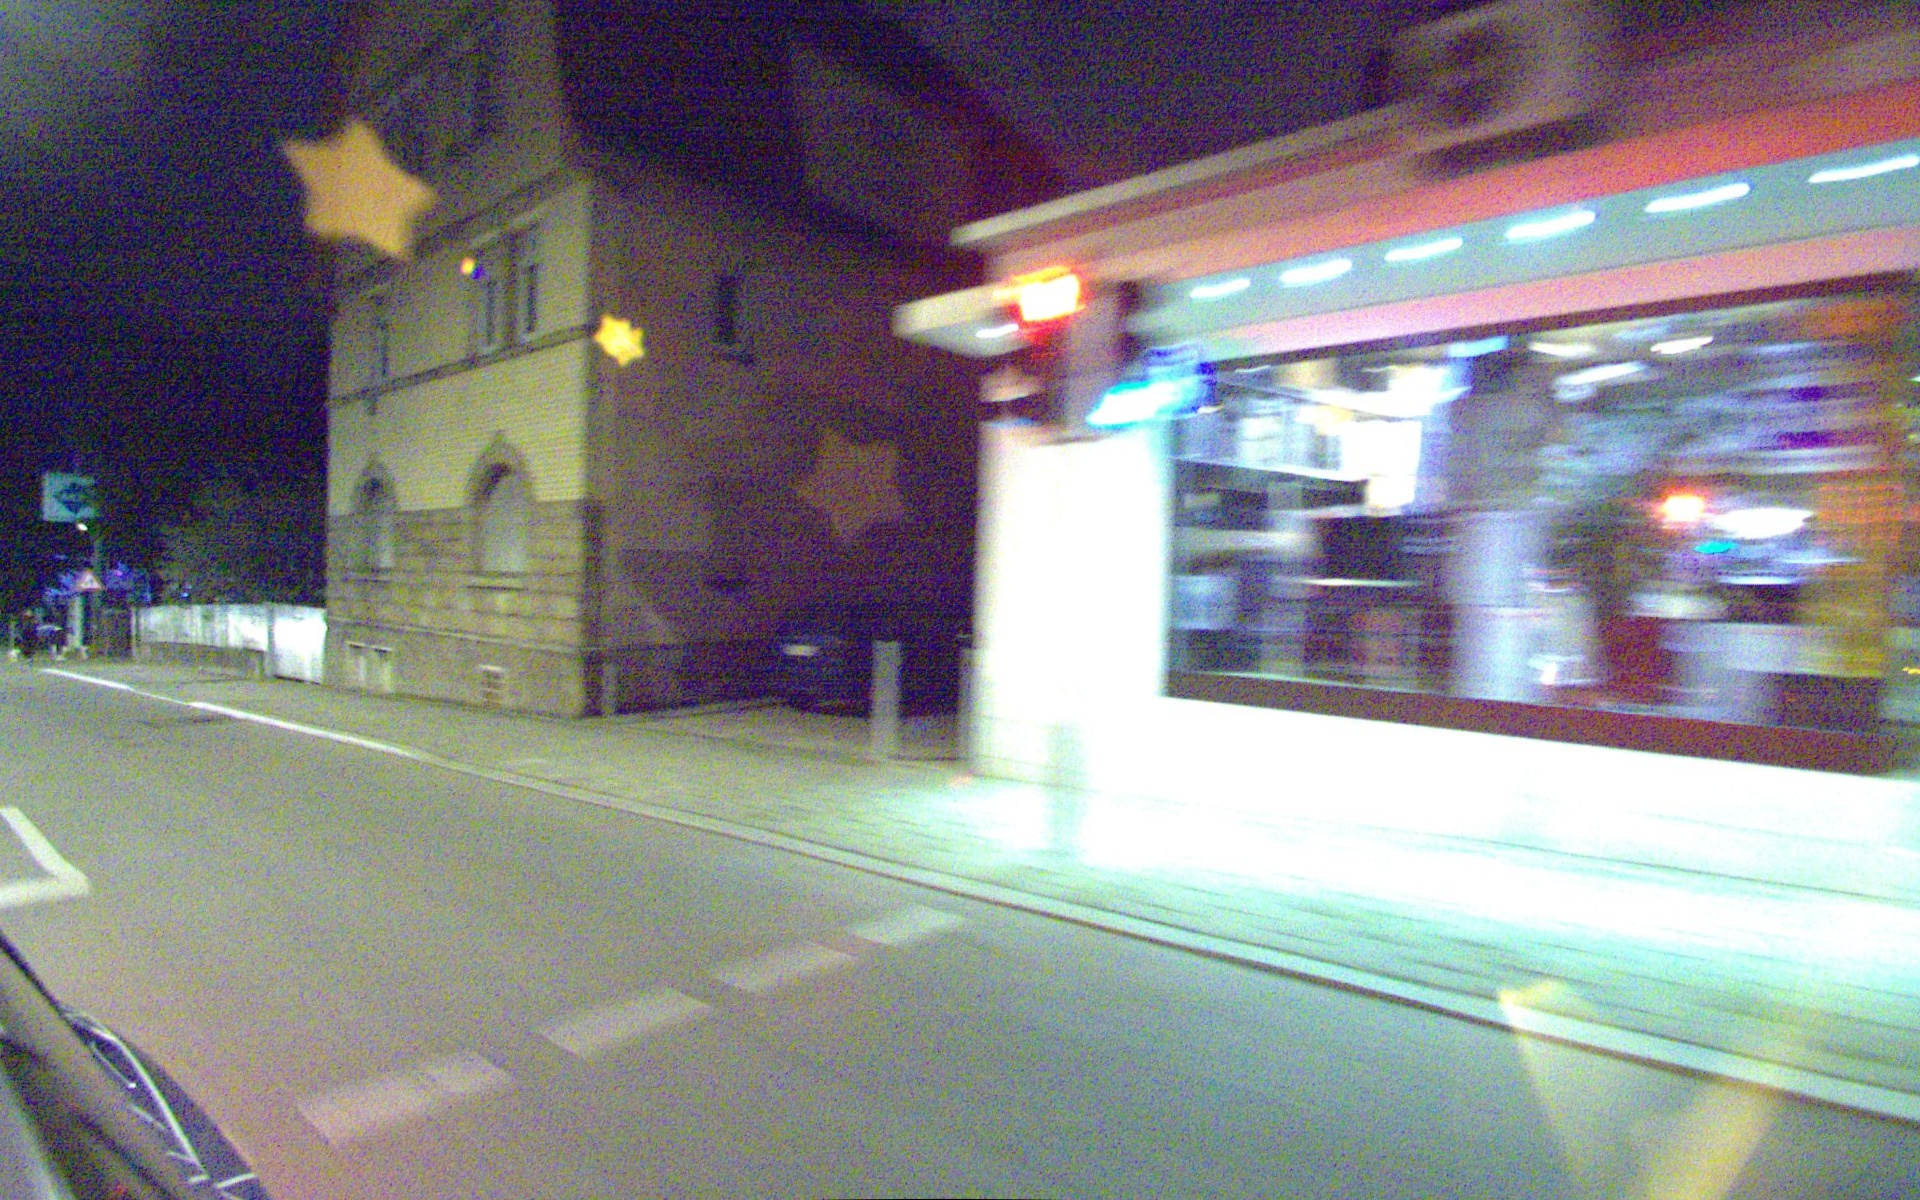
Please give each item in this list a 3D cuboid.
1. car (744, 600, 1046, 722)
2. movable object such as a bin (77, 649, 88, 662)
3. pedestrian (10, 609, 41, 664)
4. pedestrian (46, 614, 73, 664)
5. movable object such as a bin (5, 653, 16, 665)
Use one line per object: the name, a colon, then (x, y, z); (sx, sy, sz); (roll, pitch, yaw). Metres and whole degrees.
car: (-0.731, 0.724, 13.464); (1.801, 1.374, 3.946); (-1, -2, 40)
movable object such as a bin: (-28.152, 1.778, 32.459); (0.466, 0.410, 0.228); (-1, 0, 44)
pedestrian: (-29.056, 1.117, 31.458); (0.748, 1.654, 0.640); (-1, 0, 44)
pedestrian: (-28.487, 1.233, 32.003); (0.589, 1.541, 0.554); (-1, 0, 42)
movable object such as a bin: (-30.011, 1.863, 31.977); (0.466, 0.354, 0.228); (-1, 0, 44)
